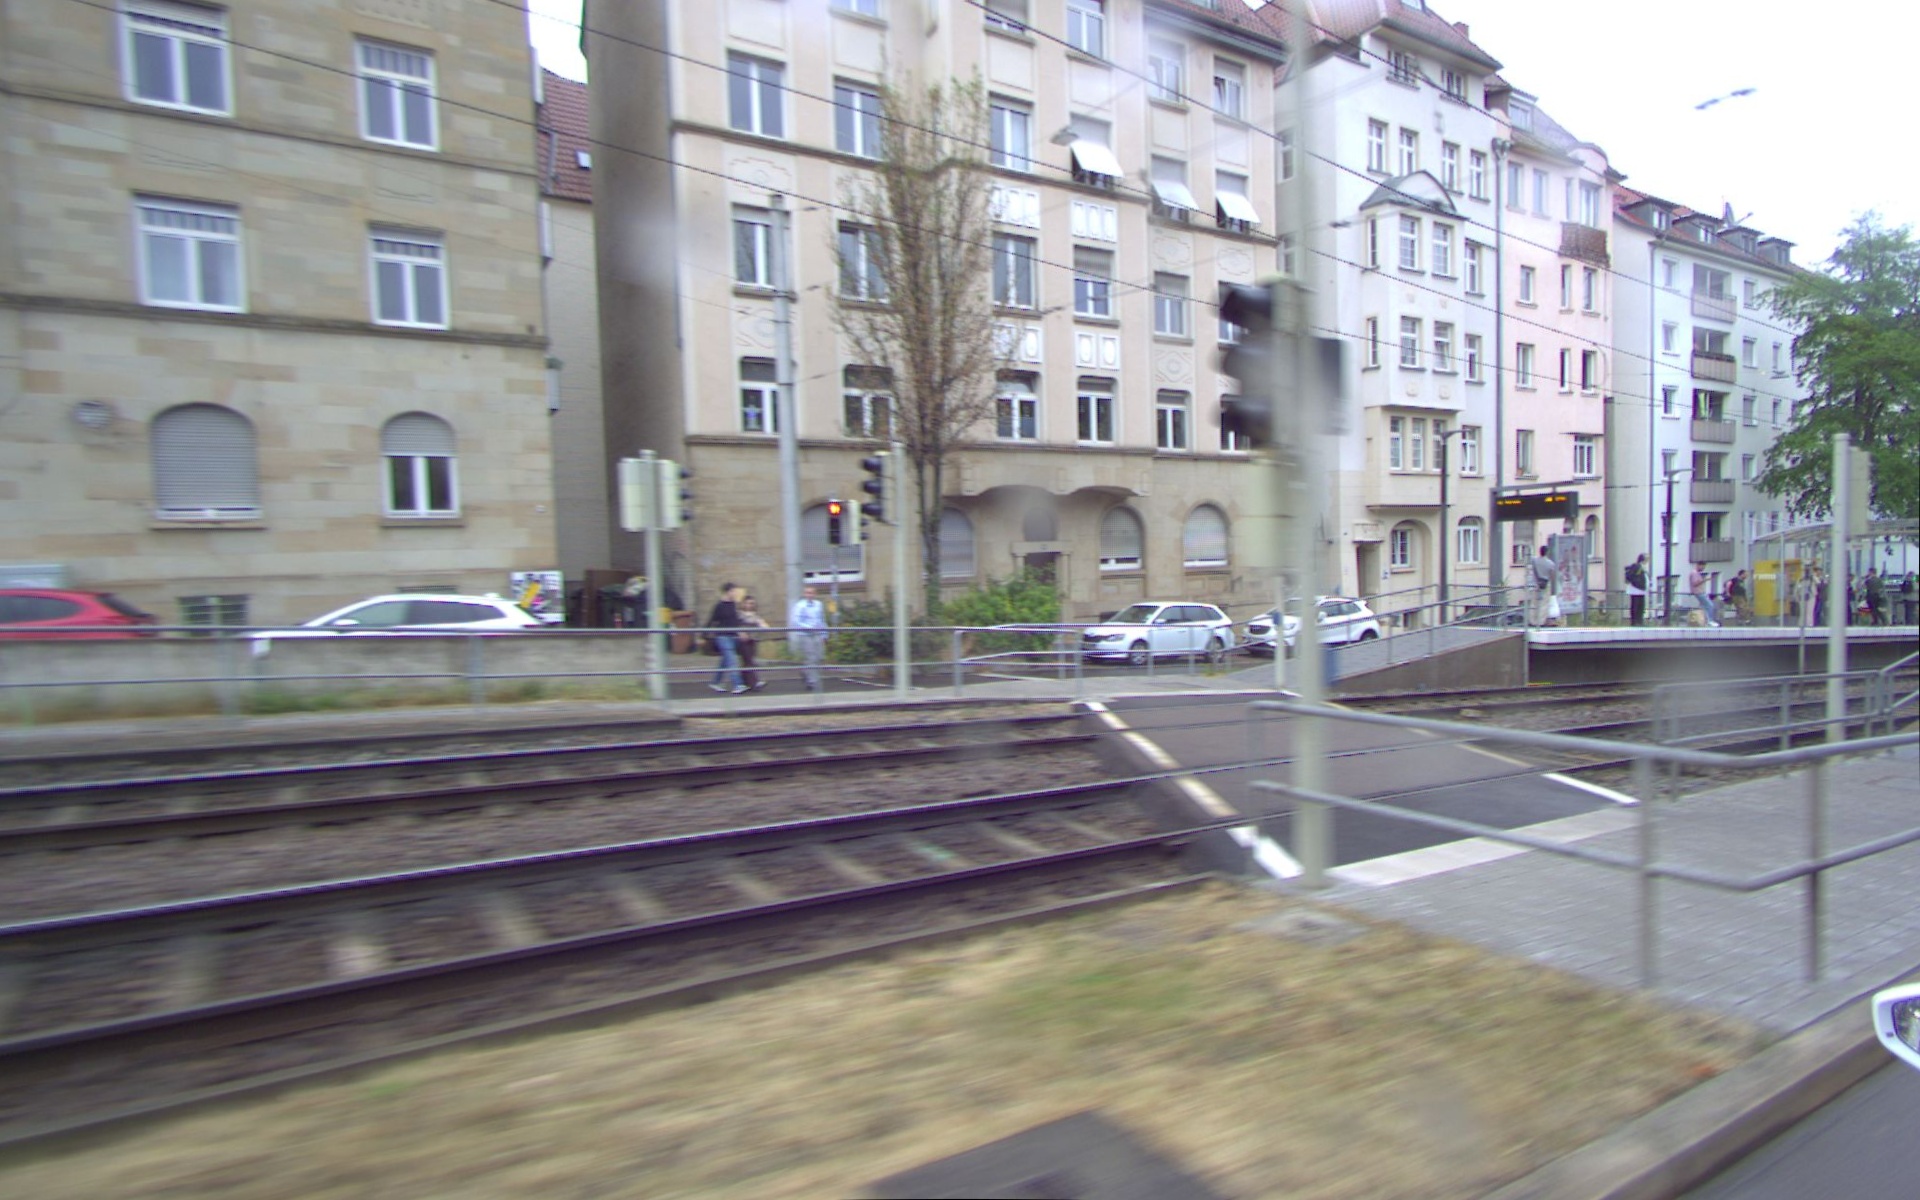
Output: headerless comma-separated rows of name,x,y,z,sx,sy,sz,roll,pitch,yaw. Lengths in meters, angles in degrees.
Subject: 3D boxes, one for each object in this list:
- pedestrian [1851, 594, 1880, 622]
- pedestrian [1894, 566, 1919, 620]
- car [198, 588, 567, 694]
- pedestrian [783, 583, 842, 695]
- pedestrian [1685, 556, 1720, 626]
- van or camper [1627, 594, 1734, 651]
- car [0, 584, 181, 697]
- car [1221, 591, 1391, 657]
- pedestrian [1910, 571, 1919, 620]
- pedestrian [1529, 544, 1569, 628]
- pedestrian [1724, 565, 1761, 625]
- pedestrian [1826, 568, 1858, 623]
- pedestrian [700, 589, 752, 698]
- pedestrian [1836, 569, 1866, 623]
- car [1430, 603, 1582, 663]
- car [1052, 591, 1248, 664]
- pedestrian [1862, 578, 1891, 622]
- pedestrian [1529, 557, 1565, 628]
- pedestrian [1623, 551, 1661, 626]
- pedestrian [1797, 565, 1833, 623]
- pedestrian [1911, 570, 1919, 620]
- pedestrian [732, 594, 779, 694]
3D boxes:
pedestrian,29.321,0.265,32.514,0.607,0.883,0.547,1,-2,-32
pedestrian,31.379,-0.215,33.217,0.607,1.764,0.547,1,-1,-32
car,-8.880,0.572,15.816,4.815,1.461,1.707,0,0,-33
pedestrian,-2.357,0.606,16.054,0.720,1.722,0.716,0,0,-30
pedestrian,20.211,-0.238,27.343,0.753,1.862,0.513,1,-1,-32
van or camper,27.411,0.811,38.199,3.956,2.040,1.982,0,0,-33
car,-13.178,0.523,13.473,4.127,1.461,1.622,0,0,-31
car,9.434,0.620,27.305,4.481,1.644,1.914,0,-1,-30
pedestrian,34.434,-0.153,35.942,0.557,1.764,0.480,1,-1,-32
pedestrian,13.304,-0.303,22.681,0.592,1.874,0.558,1,-1,-32
pedestrian,22.338,-0.137,28.672,0.753,1.688,0.591,1,-1,-32
pedestrian,27.441,-0.142,31.261,0.585,1.688,0.591,1,-1,-32
pedestrian,-3.570,0.648,15.302,0.613,1.614,0.622,0,0,-30
pedestrian,28.330,-0.127,31.946,0.607,1.688,0.547,1,-1,-32
car,17.112,1.031,31.457,4.755,1.755,1.985,1,-1,-29
car,4.650,0.674,24.460,4.481,1.553,1.983,2,2,-31
pedestrian,30.088,0.000,32.965,0.607,1.432,0.547,1,-1,-32
pedestrian,13.604,-0.164,23.291,0.556,1.626,0.513,1,-1,-32
pedestrian,17.270,-0.278,25.443,0.753,1.862,0.513,1,-1,-32
pedestrian,25.509,-0.169,29.967,0.753,1.688,0.591,1,-1,-32
pedestrian,34.034,-0.164,35.475,0.557,1.764,0.480,1,-1,-32
pedestrian,-3.266,0.695,16.043,0.613,1.552,0.518,0,-1,-30
